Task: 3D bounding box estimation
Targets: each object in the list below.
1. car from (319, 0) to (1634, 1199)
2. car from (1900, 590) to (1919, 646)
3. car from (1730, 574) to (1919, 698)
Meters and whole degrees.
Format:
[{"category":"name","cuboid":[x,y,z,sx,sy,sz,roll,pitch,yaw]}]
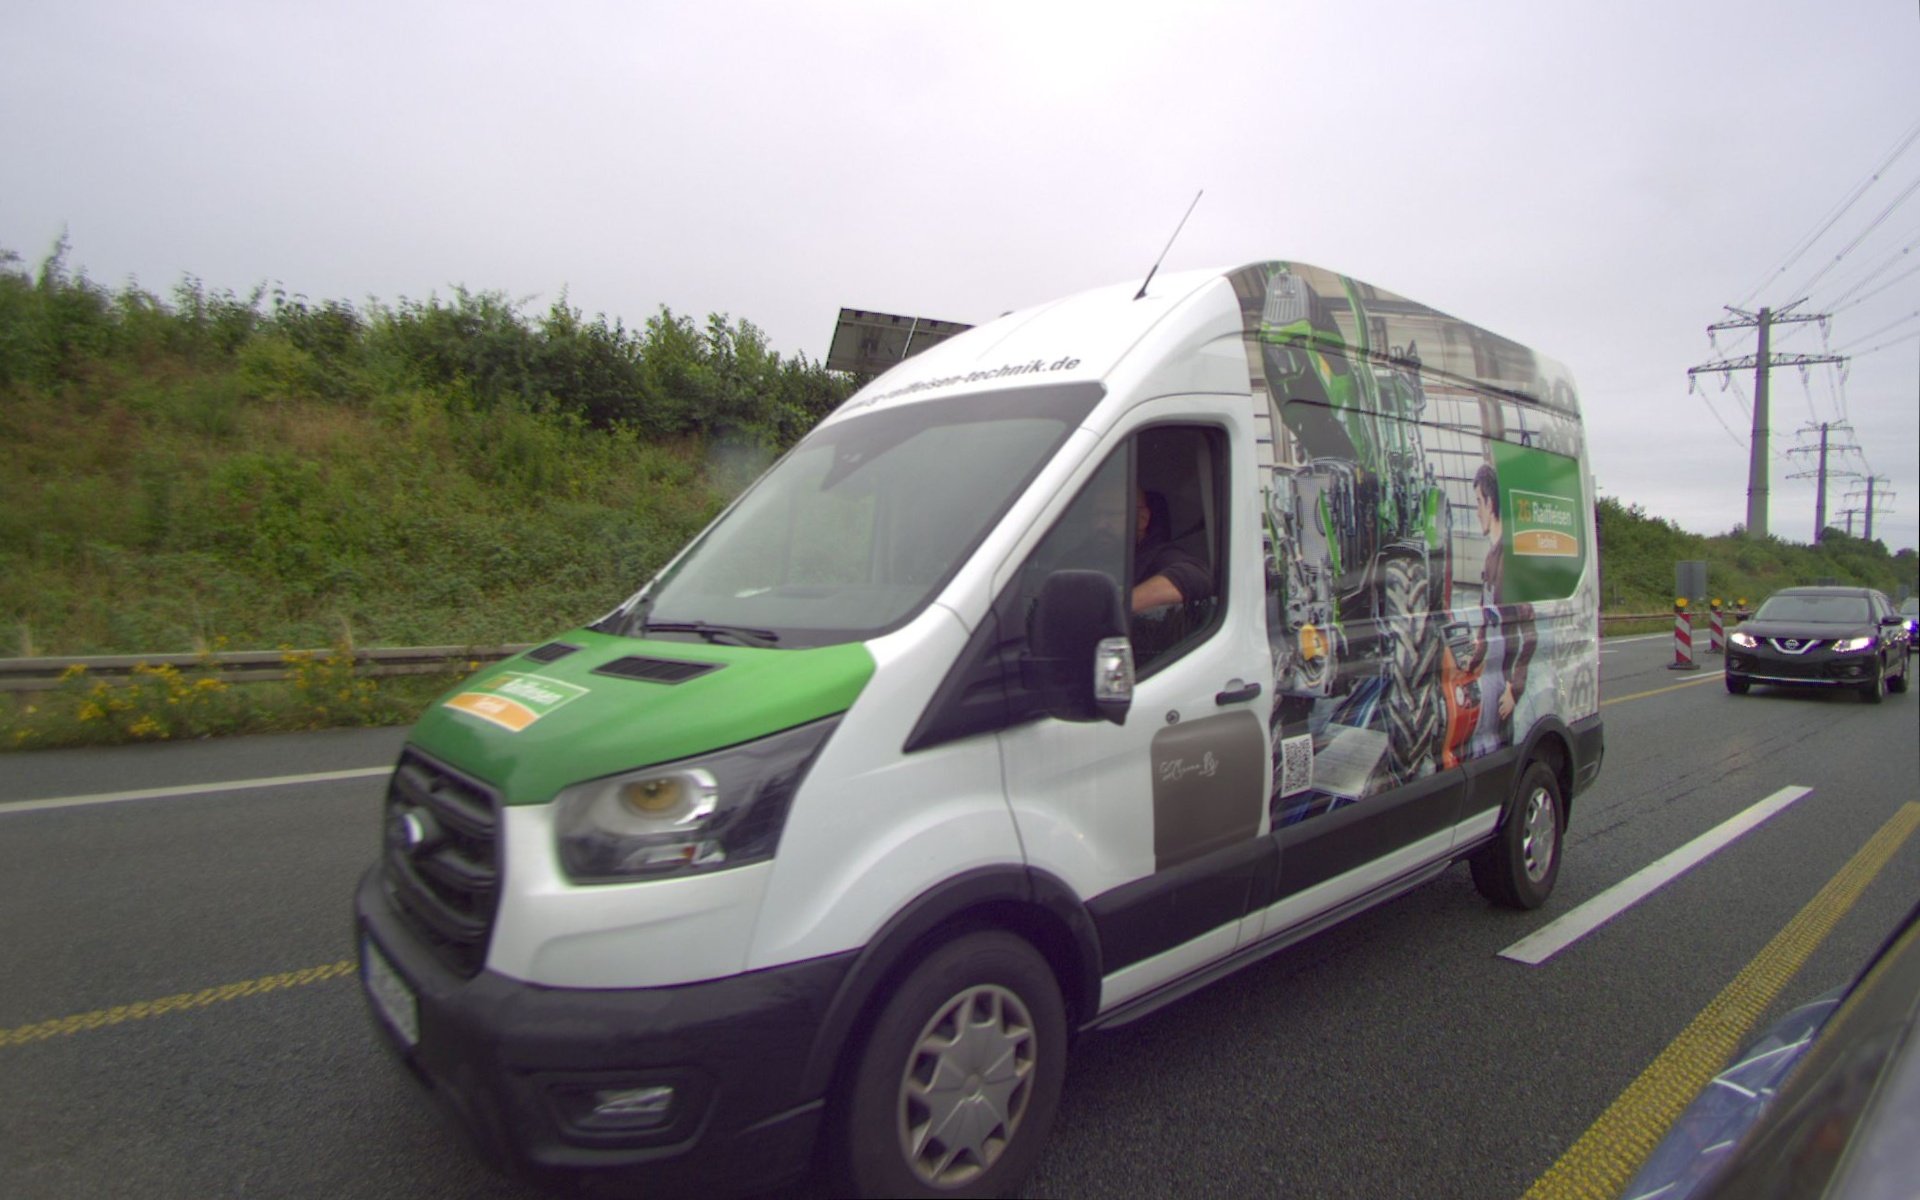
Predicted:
[{"category":"car","cuboid":[0.801,-0.033,4.246,5.657,2.817,1.997,0,1,-42]},{"category":"car","cuboid":[28.462,0.496,29.083,4.079,1.552,1.802,0,1,-42]},{"category":"car","cuboid":[13.598,0.473,15.701,4.203,1.679,1.688,0,1,-39]}]
